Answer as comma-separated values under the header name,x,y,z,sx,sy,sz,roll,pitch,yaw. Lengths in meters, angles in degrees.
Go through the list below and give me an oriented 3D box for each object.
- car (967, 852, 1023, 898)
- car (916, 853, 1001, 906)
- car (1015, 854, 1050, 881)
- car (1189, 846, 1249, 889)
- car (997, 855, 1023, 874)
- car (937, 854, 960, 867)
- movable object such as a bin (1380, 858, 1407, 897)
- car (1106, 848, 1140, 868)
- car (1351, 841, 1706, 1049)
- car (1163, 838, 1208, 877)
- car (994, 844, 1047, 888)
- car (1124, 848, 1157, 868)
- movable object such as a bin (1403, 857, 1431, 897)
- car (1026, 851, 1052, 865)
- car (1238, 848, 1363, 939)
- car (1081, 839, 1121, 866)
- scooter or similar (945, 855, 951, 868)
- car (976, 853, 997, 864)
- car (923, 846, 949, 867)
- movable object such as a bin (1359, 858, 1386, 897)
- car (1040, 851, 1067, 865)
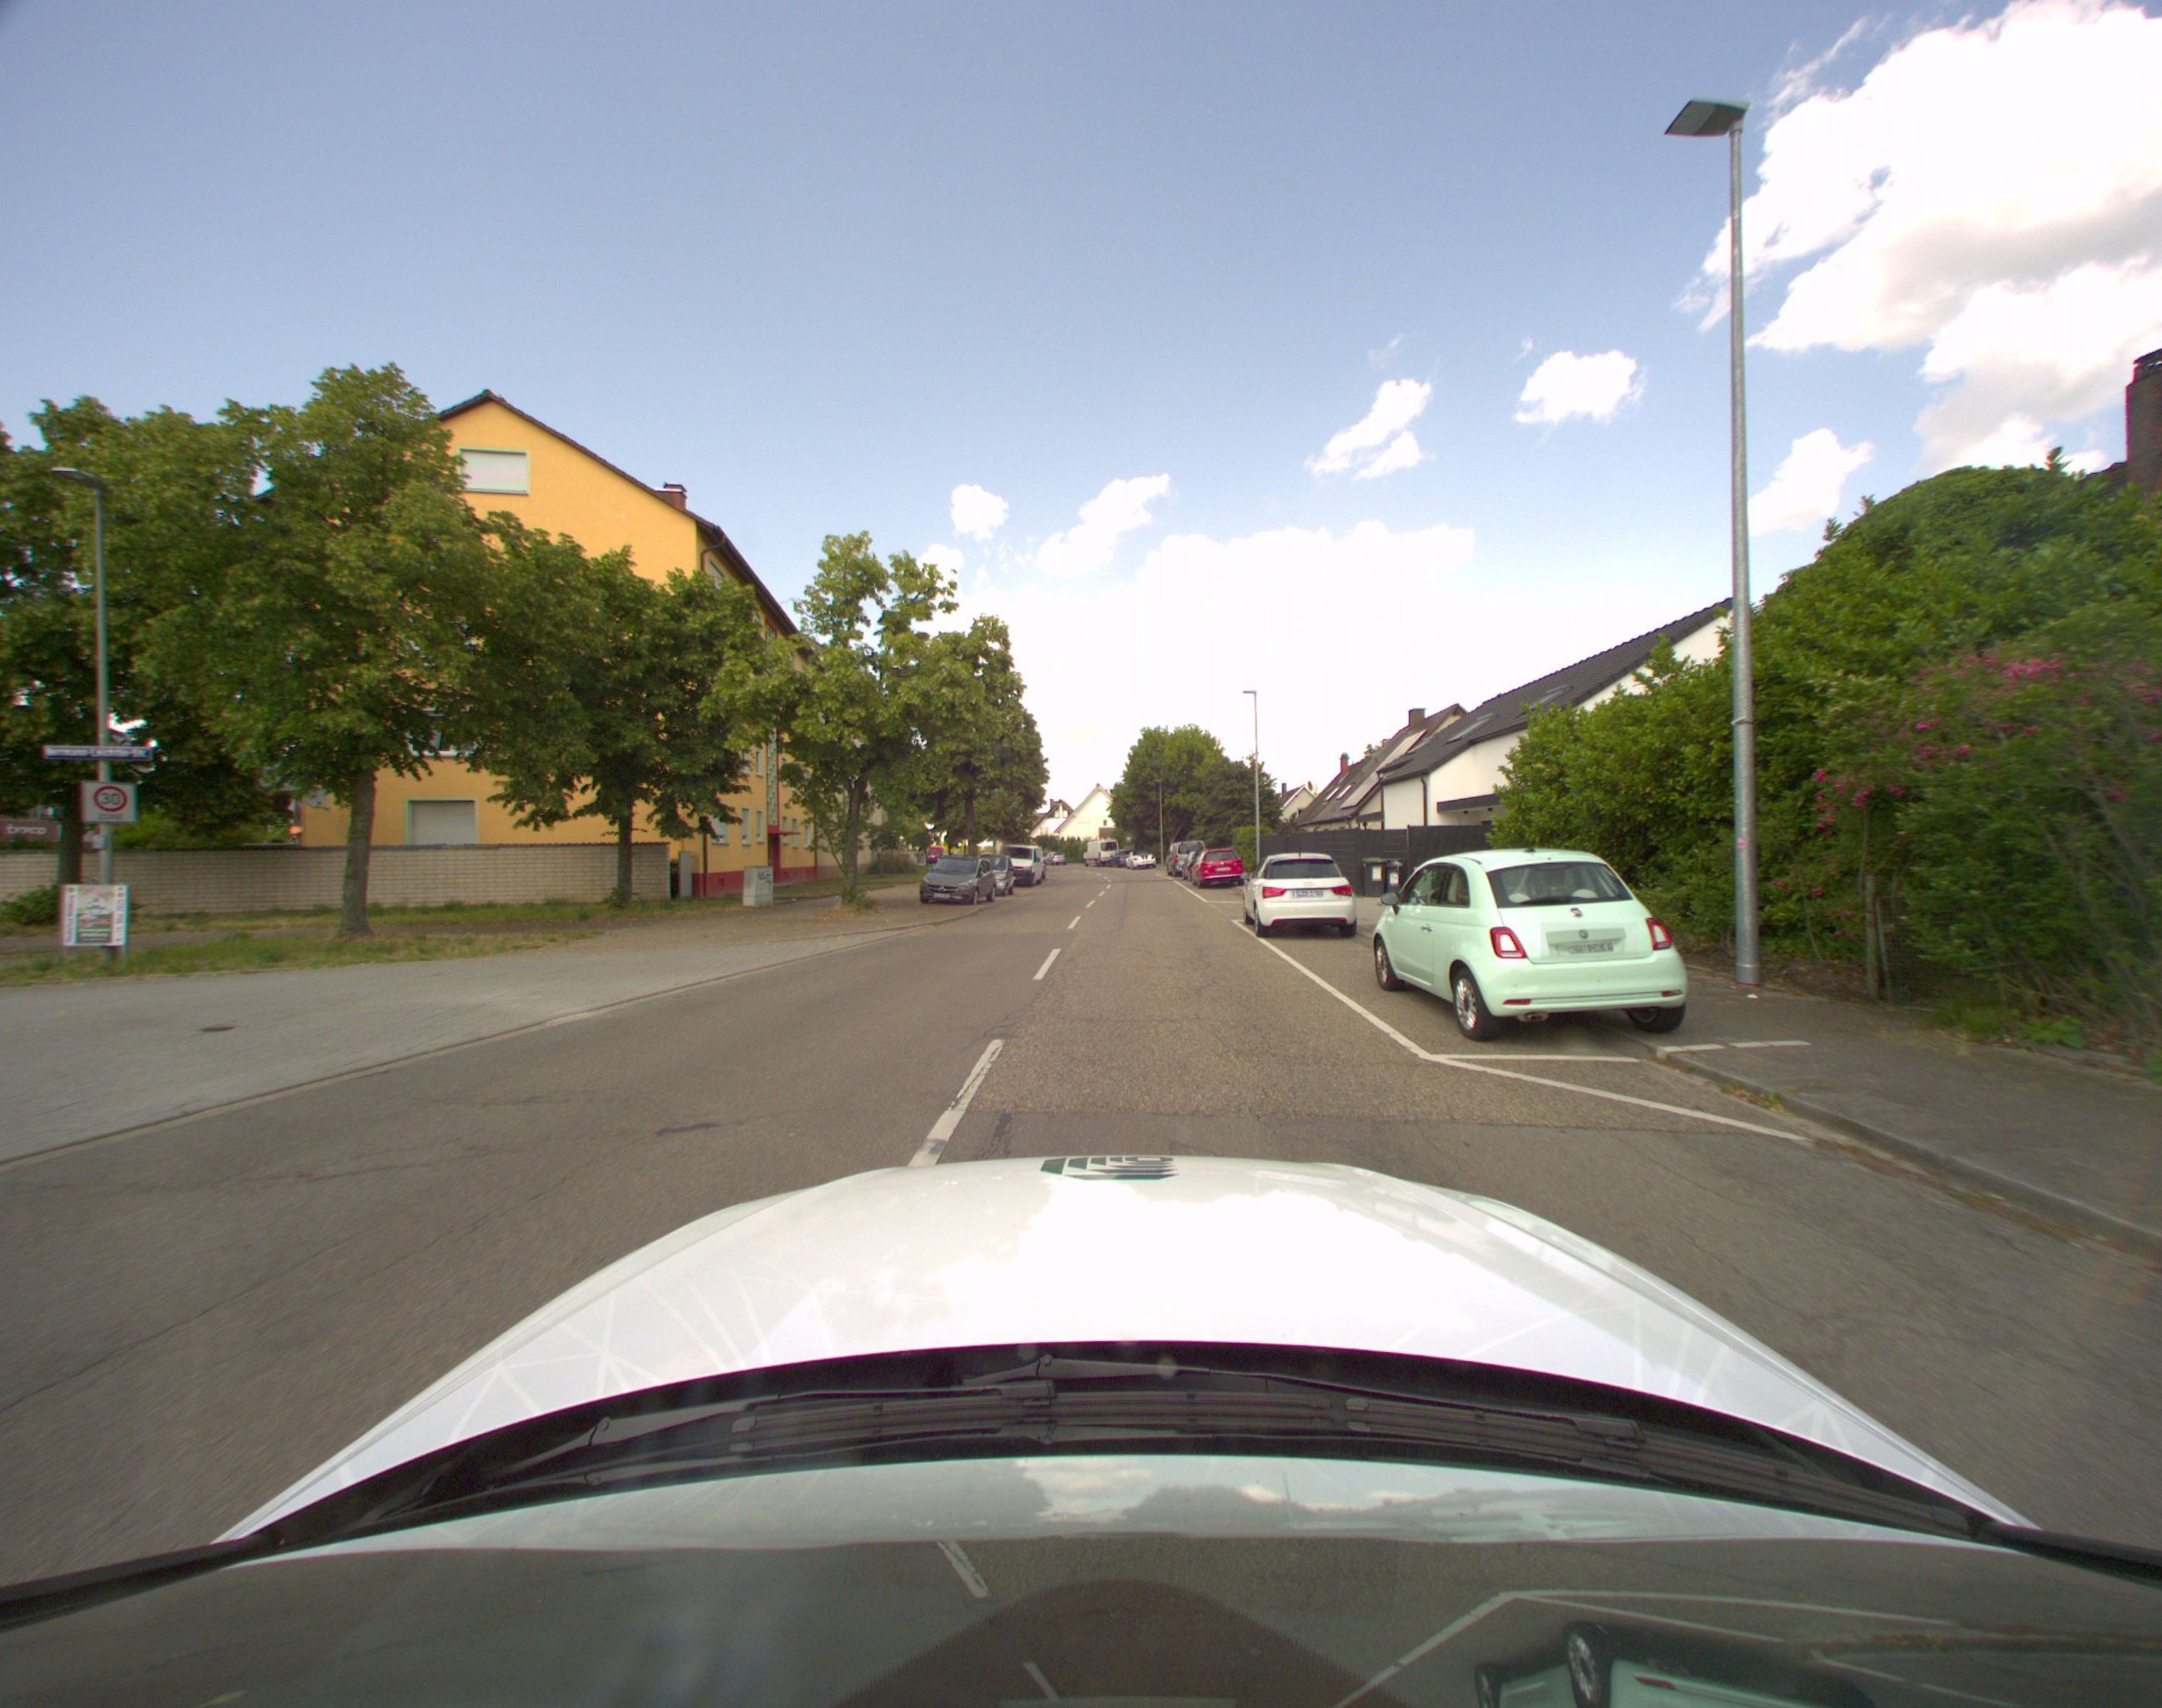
name,x,y,z,sx,sy,sz,roll,pitch,yaw
car,-3.282,0.761,31.829,1.511,1.549,3.758,4,1,3
car,-3.759,0.767,25.652,1.676,1.486,3.989,2,-1,5
car,-2.842,0.745,48.171,1.754,1.489,4.504,-1,0,0
car,5.453,0.489,32.641,1.842,1.579,4.737,-1,0,3
car,-5.901,0.839,67.105,1.836,1.439,4.079,1,0,-9
car,-16.002,0.775,98.240,1.793,1.458,4.404,3,-2,-21
movable object such as a bin,8.416,0.621,21.961,0.514,1.039,0.630,-1,0,3
car,3.506,0.313,69.002,1.720,1.585,4.104,-1,0,-14
car,3.921,0.668,7.899,1.574,1.520,3.759,-1,0,4
car,5.826,0.191,45.762,1.836,1.944,4.876,-3,0,0
car,-2.910,0.534,40.157,1.871,2.009,5.328,1,0,4
car,4.522,0.295,62.335,1.737,1.512,4.450,-1,0,-5
movable object such as a bin,9.047,0.606,21.934,0.514,1.039,0.630,-1,0,3
car,-4.926,0.461,94.713,1.744,1.509,4.443,-1,0,-22
car,3.959,0.644,15.245,1.712,1.486,3.756,-1,0,7
car,1.802,-0.143,75.596,2.121,2.441,5.865,-1,0,-14
scooter or similar,-12.906,0.724,79.020,0.420,1.165,1.133,0,0,-18
car,-13.425,0.614,115.589,1.803,1.523,3.941,-1,0,-24
car,-18.602,0.263,104.195,2.071,2.501,5.799,3,-1,-21
movable object such as a bin,7.870,0.621,21.980,0.514,1.039,0.630,-1,0,3
car,-3.009,0.470,89.492,1.743,1.457,4.336,-1,0,-20
